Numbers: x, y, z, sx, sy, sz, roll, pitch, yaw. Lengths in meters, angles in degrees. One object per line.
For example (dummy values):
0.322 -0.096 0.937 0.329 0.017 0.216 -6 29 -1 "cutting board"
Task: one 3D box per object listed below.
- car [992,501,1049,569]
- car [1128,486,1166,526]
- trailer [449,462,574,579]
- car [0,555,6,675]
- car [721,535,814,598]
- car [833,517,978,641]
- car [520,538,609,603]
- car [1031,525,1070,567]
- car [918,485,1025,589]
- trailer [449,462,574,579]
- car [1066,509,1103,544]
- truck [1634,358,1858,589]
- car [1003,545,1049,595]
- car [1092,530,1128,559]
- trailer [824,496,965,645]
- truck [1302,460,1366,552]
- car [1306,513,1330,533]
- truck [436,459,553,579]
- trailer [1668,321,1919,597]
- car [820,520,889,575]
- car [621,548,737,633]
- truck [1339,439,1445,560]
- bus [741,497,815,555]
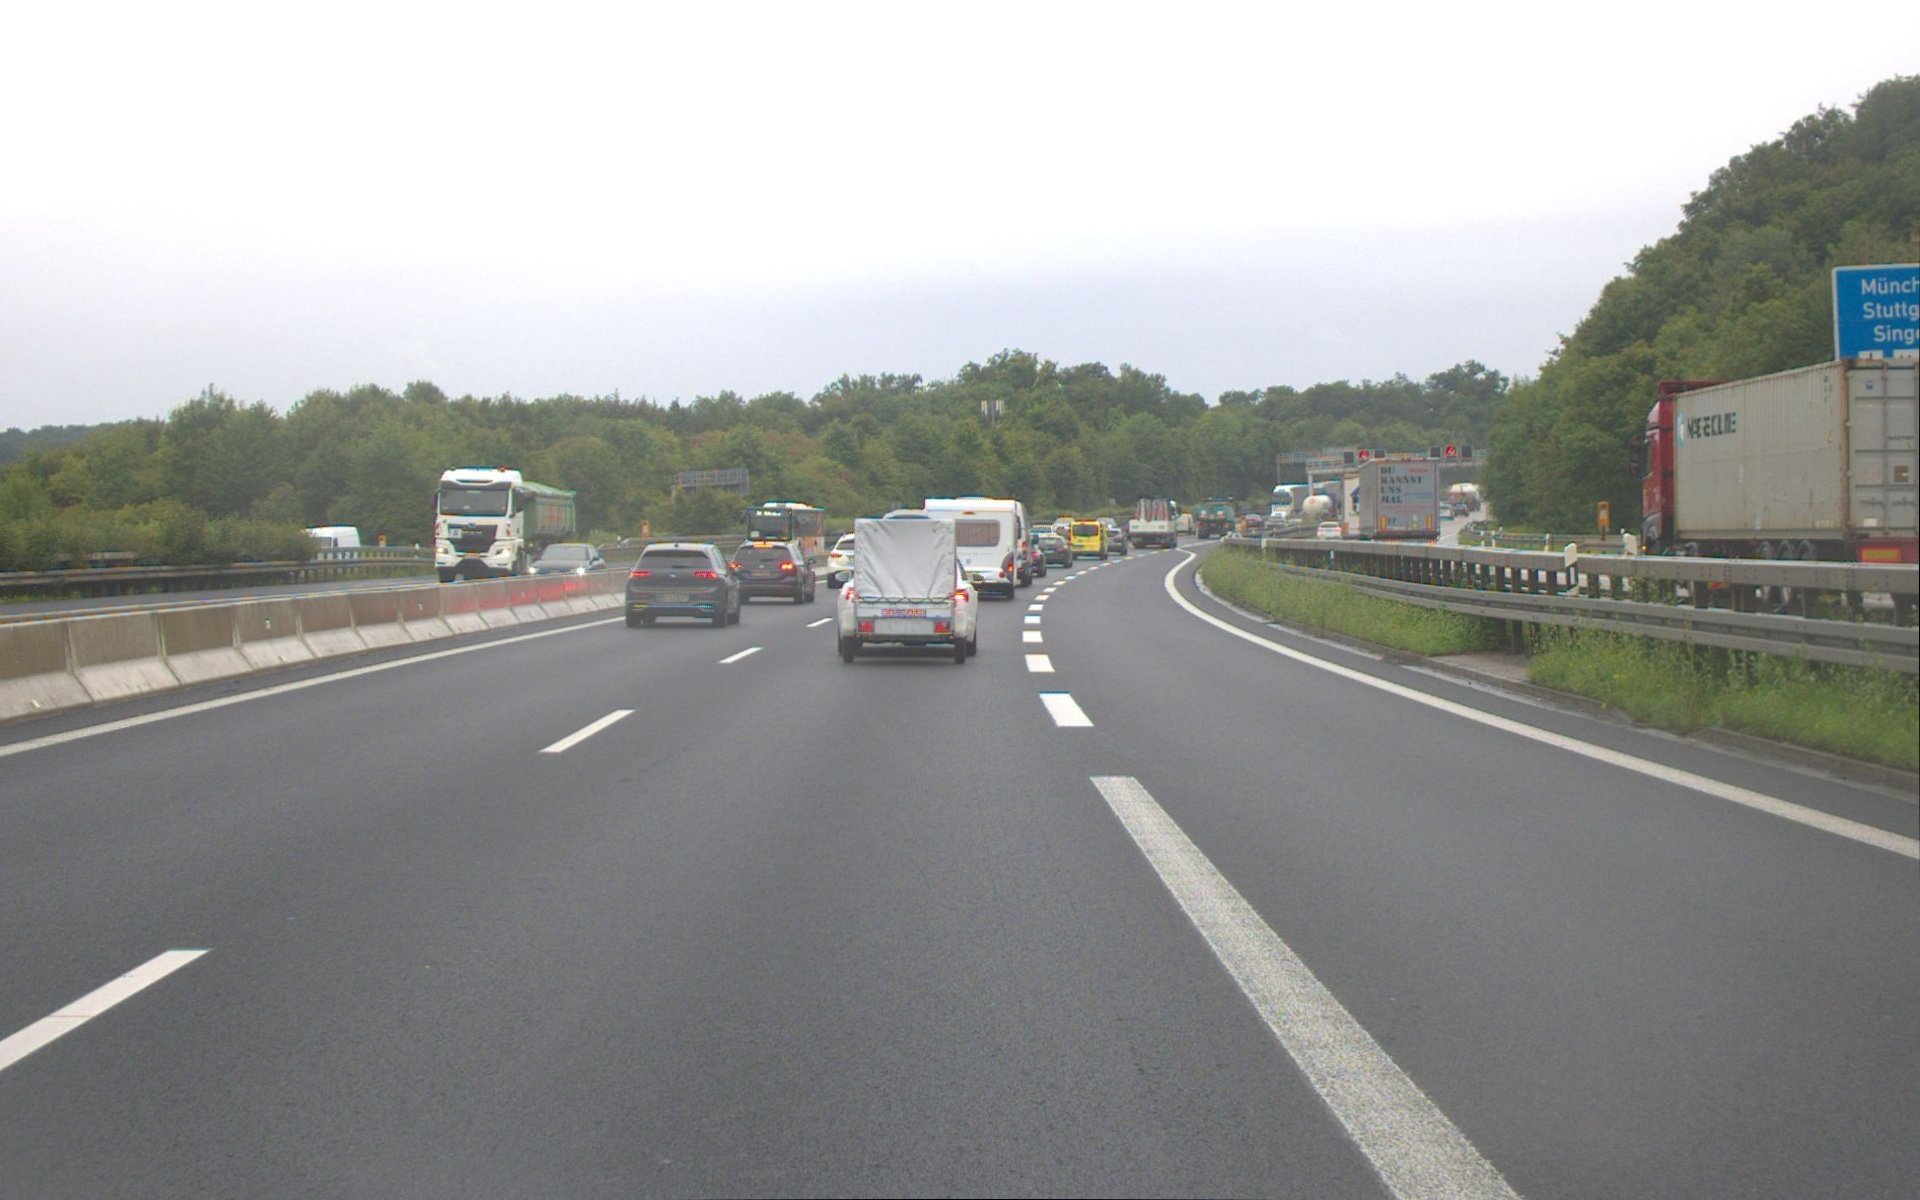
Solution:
1.877 -2.018 107.388 1.676 2.060 4.000 0 1 0 "car"
12.532 -6.275 230.068 2.516 2.566 5.311 0 1 4 "car"
-14.896 -2.626 114.880 2.903 3.736 8.928 0 1 1 "trailer"
-13.498 0.234 43.265 1.808 1.575 4.356 0 1 -1 "car"
-4.516 -0.799 81.119 1.765 1.451 4.000 0 1 3 "car"
-0.707 -0.308 47.412 1.818 1.610 4.778 0 1 1 "car"
-11.588 -0.881 100.972 1.895 1.869 4.542 0 1 3 "car"
3.953 -2.374 150.270 1.676 1.806 4.000 0 1 1 "car"
0.334 -1.619 88.604 2.508 2.576 5.699 0 1 3 "car"
-14.896 -2.626 114.880 2.903 3.736 8.928 0 1 1 "trailer"
6.530 -3.817 179.596 1.676 1.806 3.999 0 1 5 "car"
13.884 -2.179 61.186 2.616 3.871 6.392 0 1 1 "truck"
2.429 -1.113 126.024 1.676 1.806 4.000 0 1 1 "car"
8.686 -3.206 199.100 2.037 1.677 4.000 0 1 3 "car"
-0.796 -0.385 43.747 1.676 1.806 4.000 0 1 1 "trailer"
19.717 -4.864 181.158 3.216 4.650 13.030 0 1 6 "truck"
26.667 -5.749 255.934 1.676 1.451 3.999 0 1 7 "car"
-14.951 -2.570 110.750 2.887 3.736 5.945 0 1 1 "truck"
13.756 -2.082 54.775 2.604 3.881 12.490 0 1 1 "trailer"
-3.162 -1.583 103.676 1.776 1.634 4.043 0 1 2 "car"
-4.937 -0.187 60.770 1.676 1.451 4.000 0 1 1 "car"
17.352 -3.961 138.970 3.216 4.650 13.032 0 1 3 "truck"
-9.836 -4.003 187.110 2.698 2.948 11.896 0 0 3 "bus"
